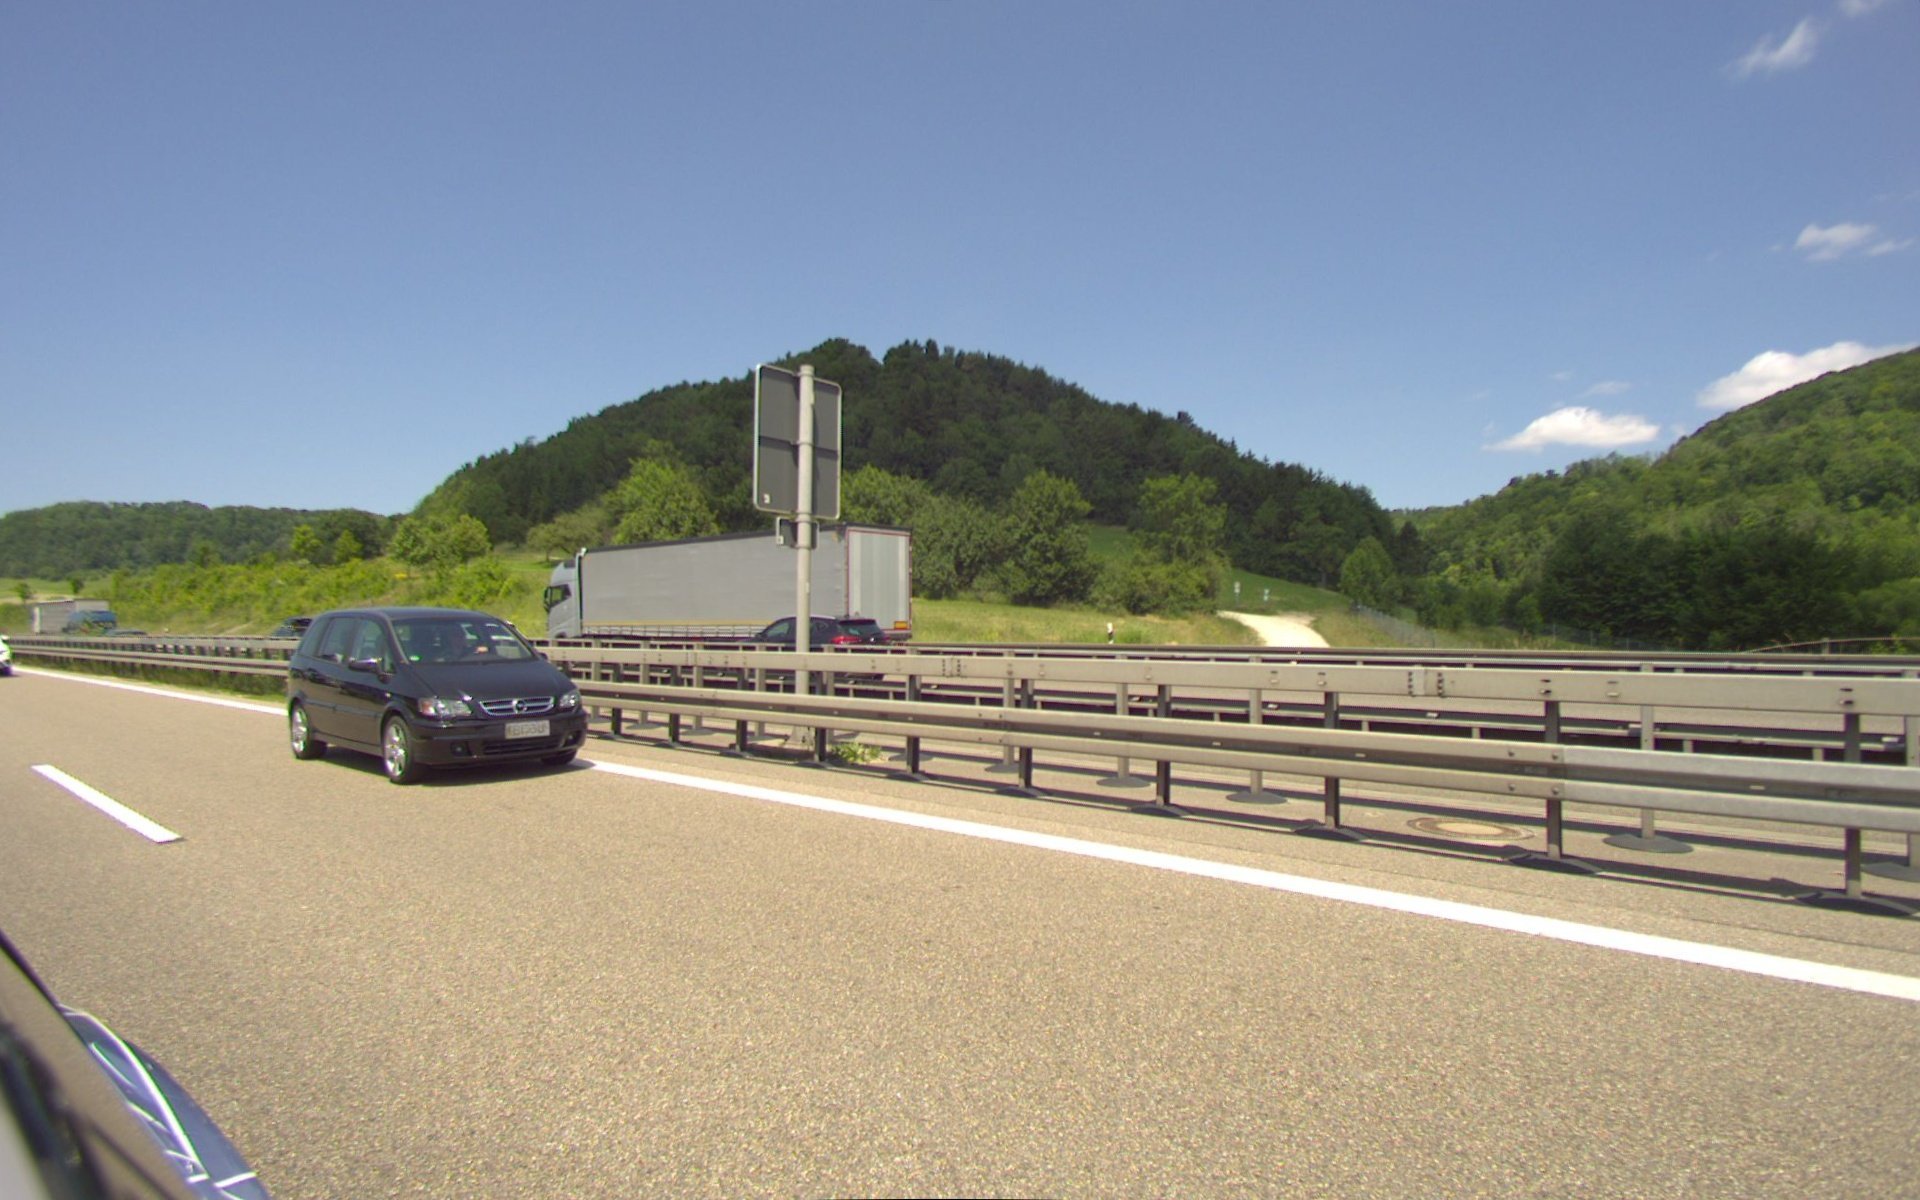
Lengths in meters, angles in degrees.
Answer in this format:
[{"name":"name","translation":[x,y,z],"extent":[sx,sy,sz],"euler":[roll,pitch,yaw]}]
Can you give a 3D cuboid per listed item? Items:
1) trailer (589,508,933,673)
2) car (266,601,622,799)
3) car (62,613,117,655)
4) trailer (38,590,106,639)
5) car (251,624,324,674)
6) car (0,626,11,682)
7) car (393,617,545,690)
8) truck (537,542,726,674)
[{"name":"trailer","translation":[-6.710,-0.164,31.438],"extent":[12.994,4.236,3.213],"euler":[-1,-1,41]},{"name":"car","translation":[-5.511,0.890,10.548],"extent":[4.443,1.647,1.782],"euler":[-2,-2,41]},{"name":"car","translation":[-62.963,2.400,73.166],"extent":[6.395,2.884,2.133],"euler":[-1,-1,41]},{"name":"trailer","translation":[-81.652,1.363,92.930],"extent":[13.606,4.223,2.825],"euler":[-1,-1,41]},{"name":"car","translation":[-30.579,2.200,45.966],"extent":[4.284,2.134,1.865],"euler":[-2,-2,44]},{"name":"car","translation":[-30.179,1.617,30.489],"extent":[3.999,1.634,1.972],"euler":[-1,-1,42]},{"name":"car","translation":[-12.880,1.332,26.440],"extent":[4.507,1.706,1.973],"euler":[-2,-1,41]},{"name":"truck","translation":[-11.695,0.310,35.736],"extent":[6.951,4.179,3.244],"euler":[-1,-1,41]}]
